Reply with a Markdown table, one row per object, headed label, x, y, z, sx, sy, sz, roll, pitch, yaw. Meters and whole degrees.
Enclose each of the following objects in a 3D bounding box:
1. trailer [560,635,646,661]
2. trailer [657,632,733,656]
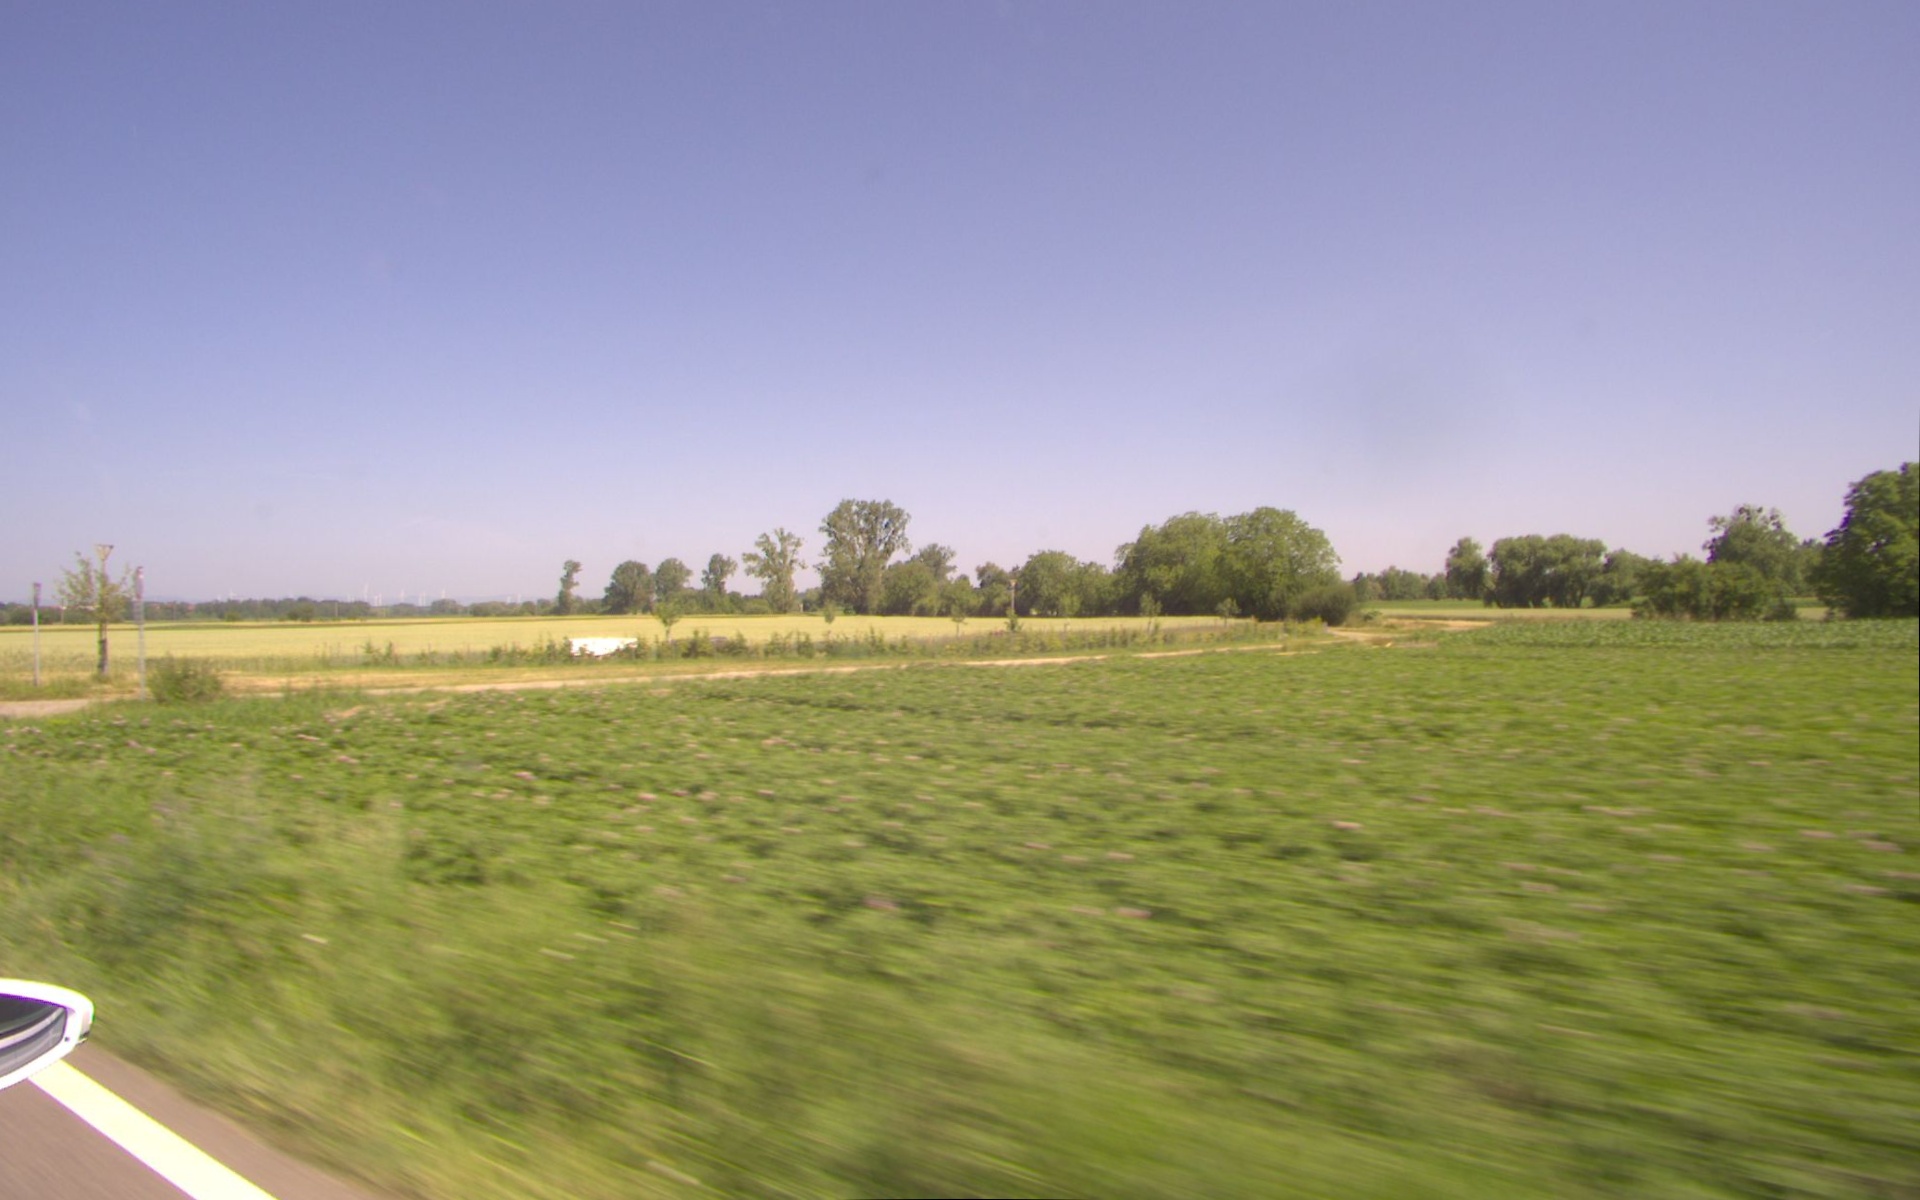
| label | x | y | z | sx | sy | sz | roll | pitch | yaw |
| --- | --- | --- | --- | --- | --- | --- | --- | --- | --- |
| trailer | -17.272 | 2.296 | 48.545 | 1.646 | 1.204 | 3.565 | -2 | -3 | 44 |
| trailer | -13.649 | 2.256 | 51.675 | 1.646 | 1.204 | 3.517 | -2 | -2 | 44 |
